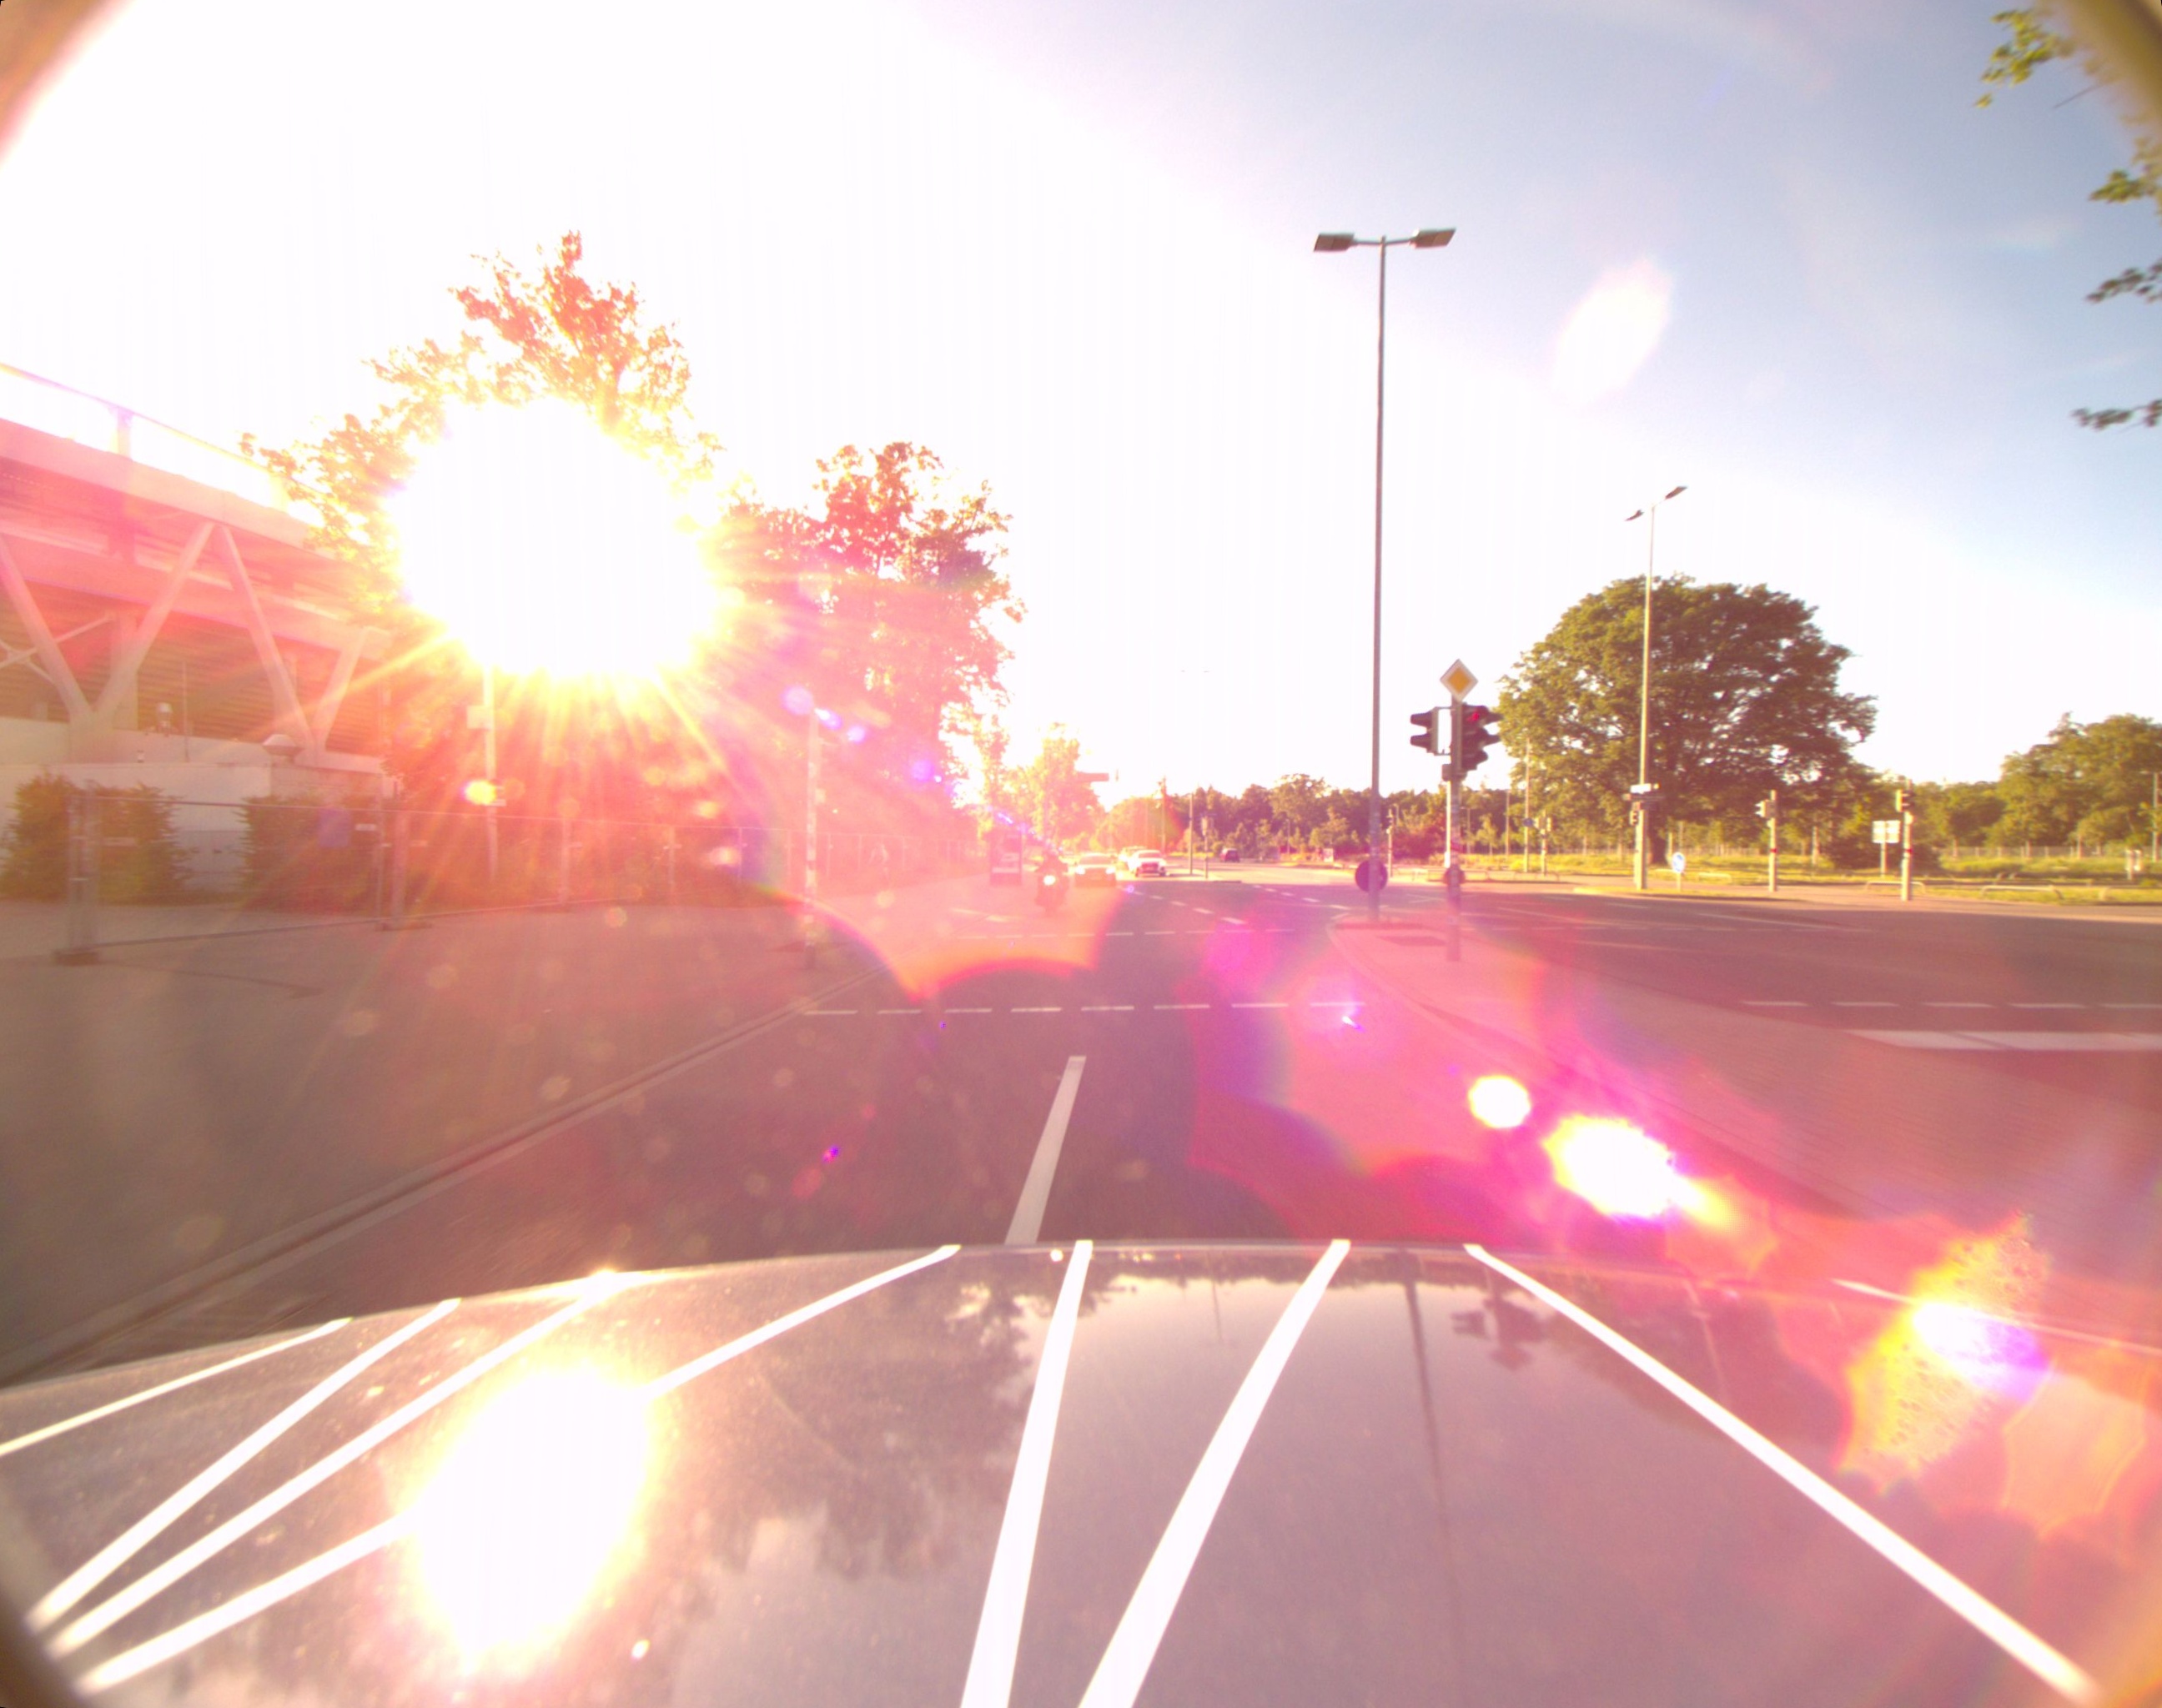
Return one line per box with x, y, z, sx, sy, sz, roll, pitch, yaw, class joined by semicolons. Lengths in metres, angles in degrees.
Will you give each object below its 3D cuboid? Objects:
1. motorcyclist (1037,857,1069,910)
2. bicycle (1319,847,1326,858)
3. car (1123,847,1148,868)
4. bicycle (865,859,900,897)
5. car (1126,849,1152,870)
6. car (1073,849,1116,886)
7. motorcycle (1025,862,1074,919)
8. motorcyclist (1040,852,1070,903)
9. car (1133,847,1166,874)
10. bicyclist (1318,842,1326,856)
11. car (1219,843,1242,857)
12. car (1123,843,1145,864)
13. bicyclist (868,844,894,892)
-0.684;0.707;18.674;0.671;1.257;0.826;-1;1;3;motorcyclist
27.566;-0.212;86.834;0.494;1.230;1.796;-1;1;9;bicycle
4.291;0.243;60.478;1.797;1.574;4.321;-1;0;2;car
-6.326;0.745;24.288;0.555;1.131;1.864;1;1;3;bicycle
4.026;0.348;53.423;1.661;1.418;4.318;-1;0;3;car
0.661;0.570;35.297;1.867;1.538;4.796;-1;0;2;car
-0.736;0.860;18.982;0.916;1.243;2.963;-1;0;3;motorcycle
-0.664;0.585;19.570;0.671;1.257;0.826;-1;1;2;motorcyclist
4.082;0.373;45.911;1.838;1.504;4.301;-1;0;3;car
27.548;-0.575;86.885;0.681;1.602;0.800;-1;1;10;bicyclist
18.105;-0.493;92.394;1.891;1.544;4.572;-1;1;1;car
5.050;-0.059;72.420;1.884;1.862;5.235;-1;0;2;car
-6.333;0.429;24.080;0.521;1.460;0.861;2;1;3;bicyclist
